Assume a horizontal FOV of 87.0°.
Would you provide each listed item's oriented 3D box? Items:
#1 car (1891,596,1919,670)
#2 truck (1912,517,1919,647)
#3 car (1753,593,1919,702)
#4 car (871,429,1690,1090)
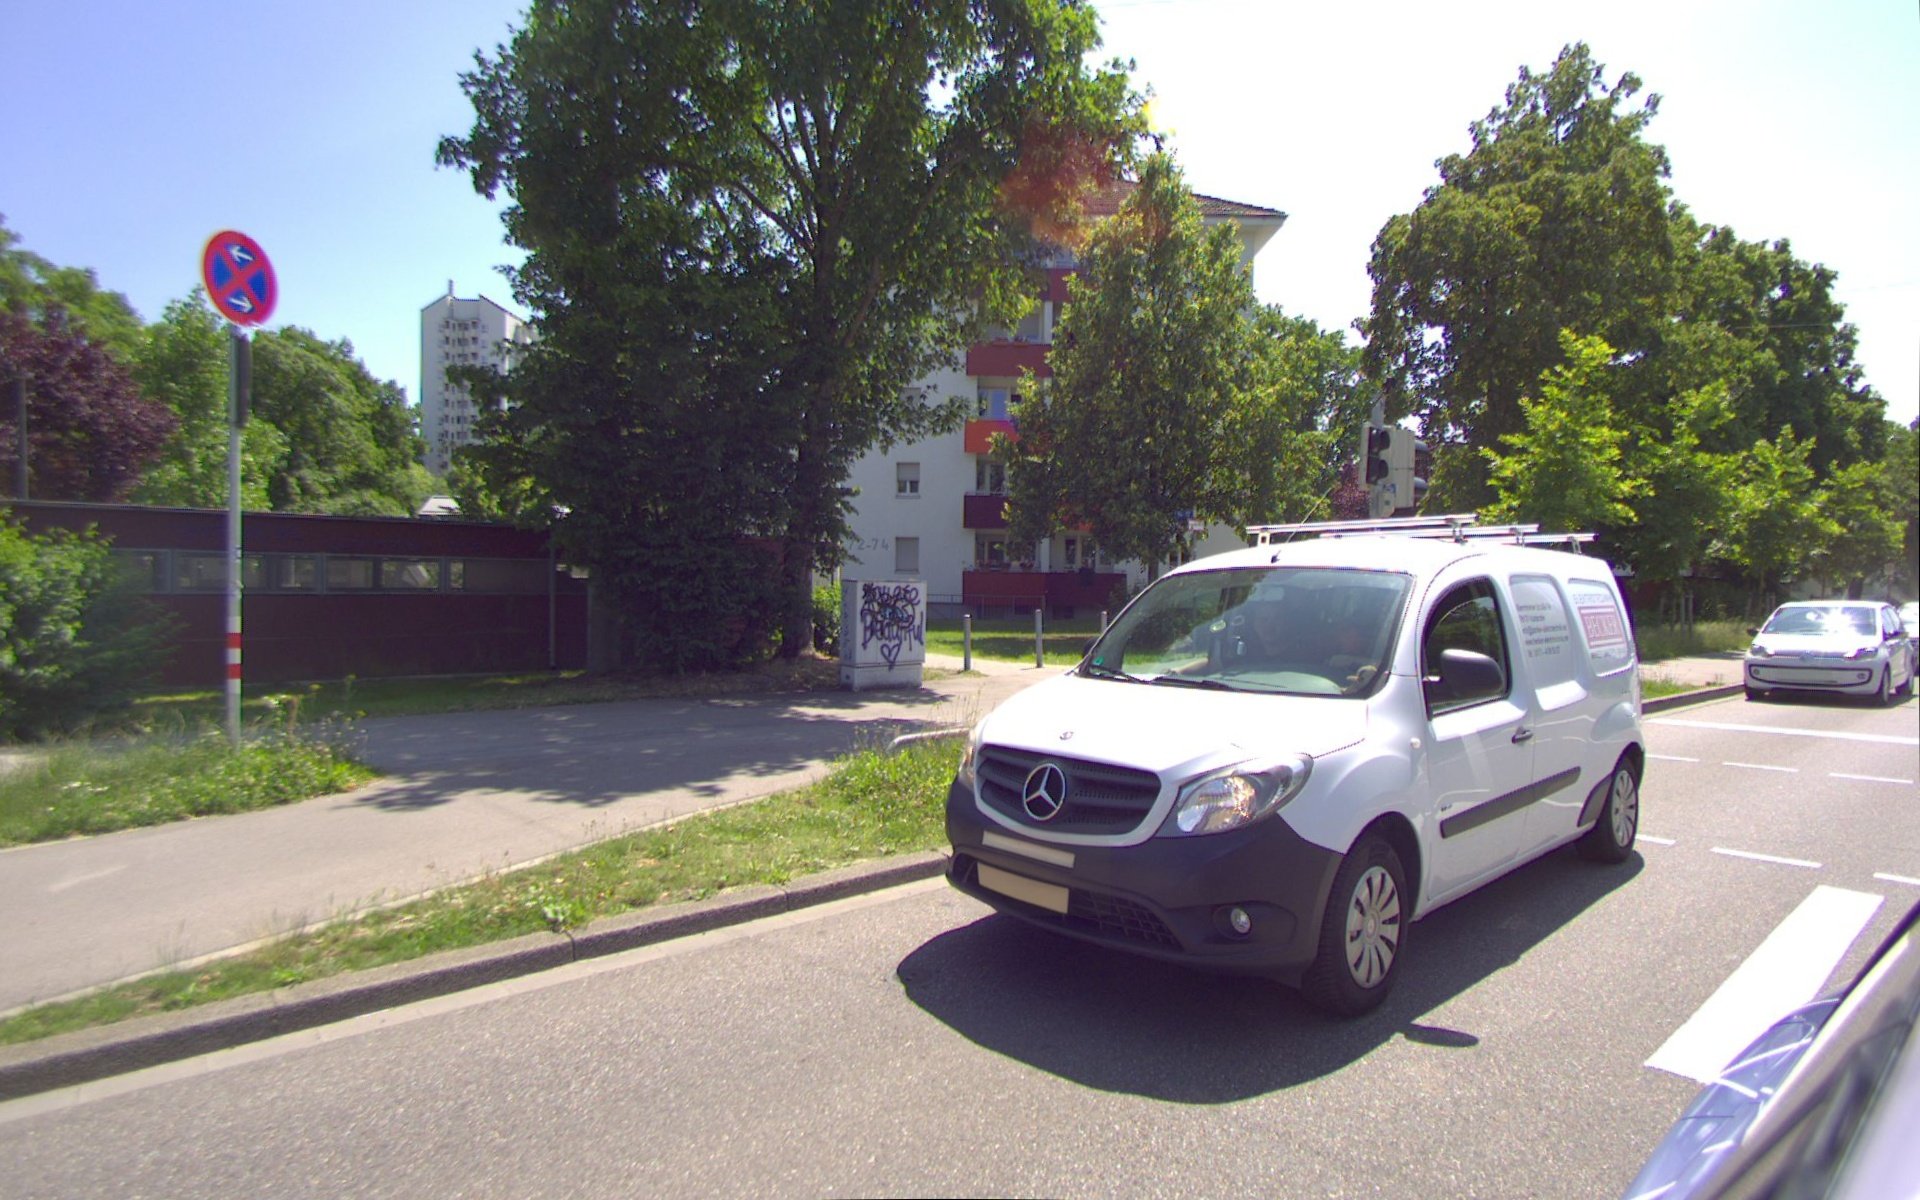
[{"bbox_3d":[20.207,0.624,20.393,4.041,1.398,1.617,0,0,-40],"label":"car"},{"bbox_3d":[27.848,-0.469,27.140,6.485,3.337,2.490,0,1,-39],"label":"truck"},{"bbox_3d":[13.470,0.633,15.403,3.438,1.459,1.624,0,0,-42],"label":"car"},{"bbox_3d":[2.071,0.439,5.246,4.996,1.879,1.807,0,0,-43],"label":"car"}]
